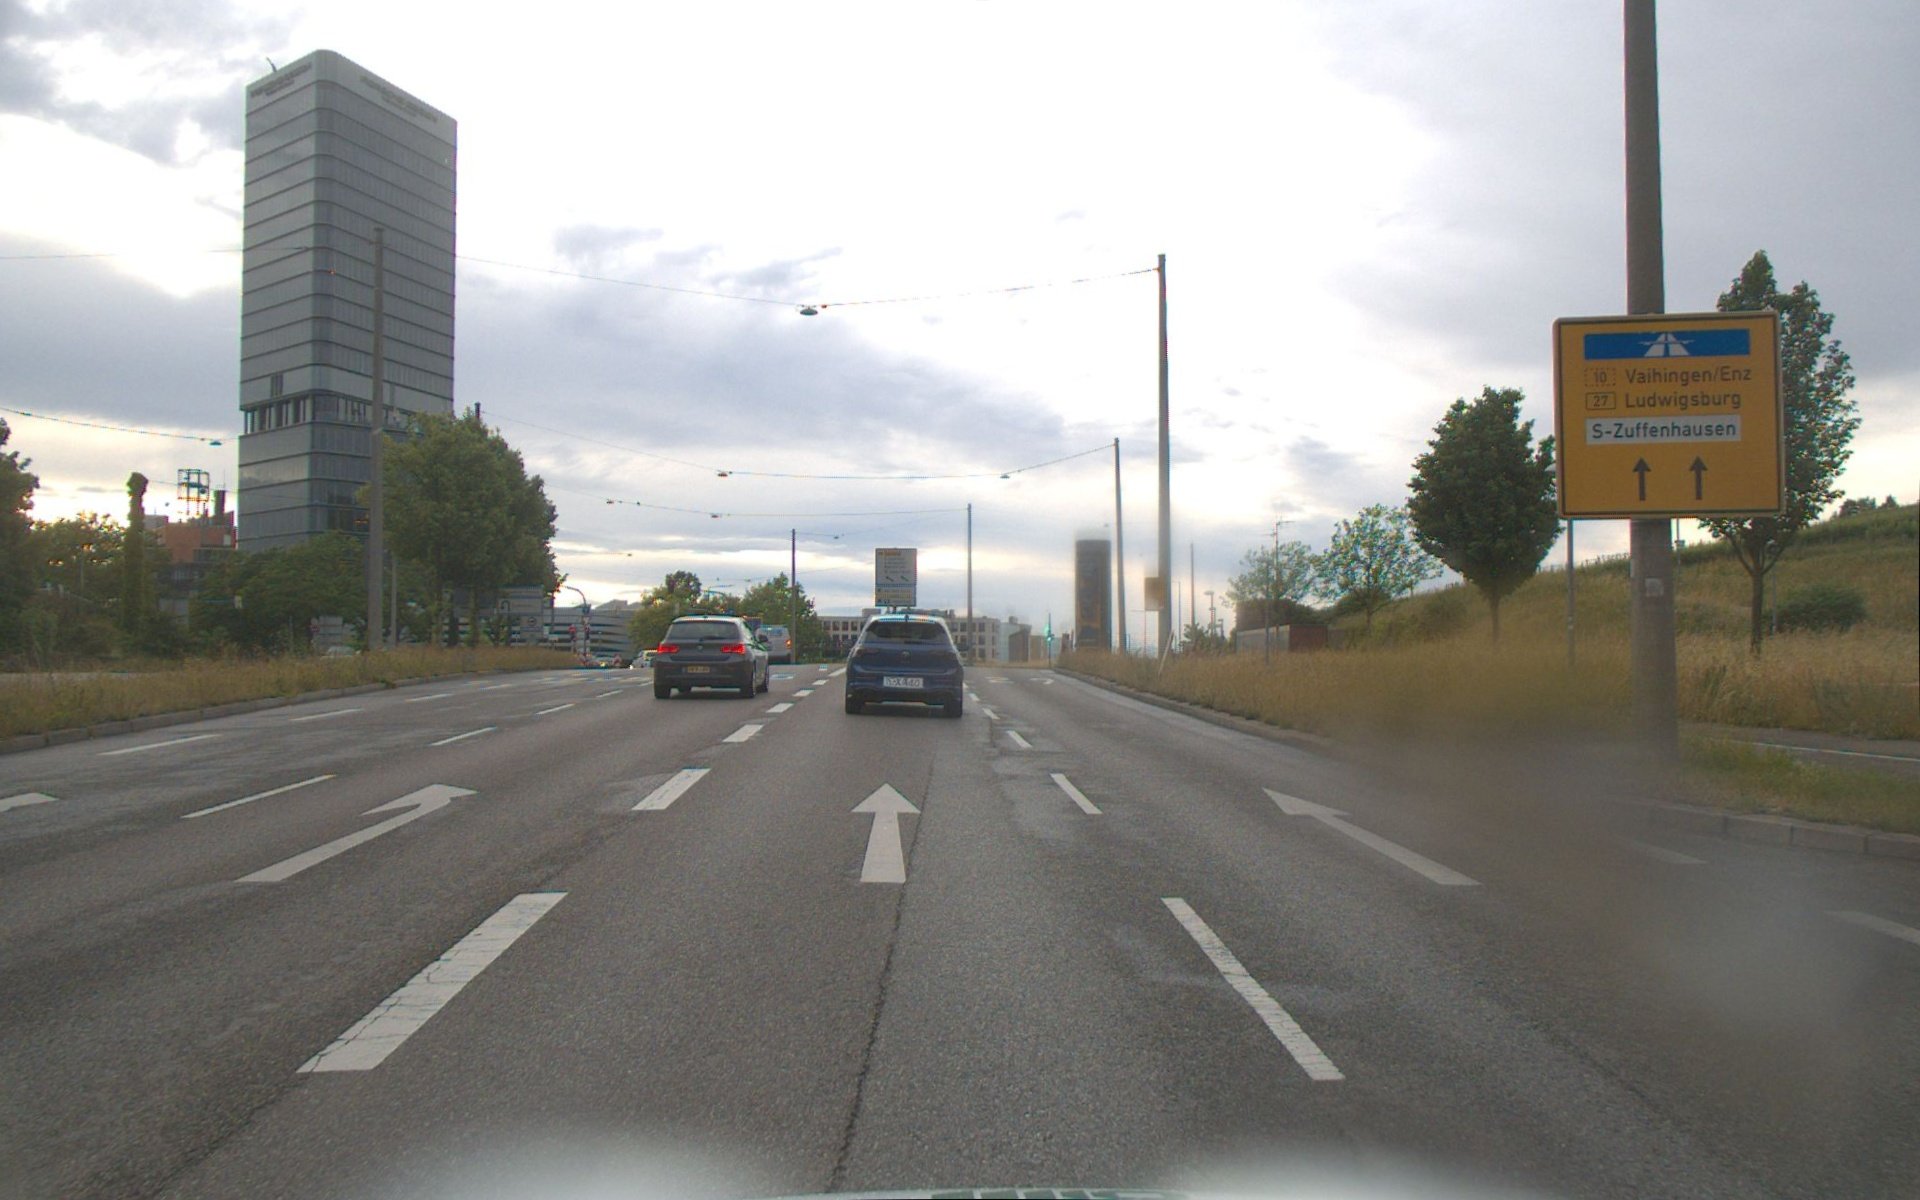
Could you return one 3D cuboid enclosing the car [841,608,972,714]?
[{"bbox_3d":[-0.779,0.901,25.296,1.800,1.418,3.999,2,-1,-1],"label":"car"}]

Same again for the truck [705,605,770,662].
[{"bbox_3d":[-13.607,2.077,100.879,2.626,3.277,6.512,2,-2,-19],"label":"truck"}]

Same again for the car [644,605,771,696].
[{"bbox_3d":[-4.516,0.873,30.109,1.831,1.487,3.974,0,0,-2],"label":"car"}]

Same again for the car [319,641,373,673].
[{"bbox_3d":[-30.629,2.836,82.598,1.563,1.384,3.673,2,0,-5],"label":"car"}]

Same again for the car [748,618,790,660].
[{"bbox_3d":[-9.795,2.017,84.623,1.869,2.008,5.080,0,-2,-9],"label":"car"}]

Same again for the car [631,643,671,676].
[{"bbox_3d":[-20.852,3.995,111.505,1.964,2.049,3.976,-1,0,-20],"label":"car"}]

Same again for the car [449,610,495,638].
[{"bbox_3d":[-30.158,1.519,102.300,1.856,1.687,4.599,0,-1,-5],"label":"car"}]

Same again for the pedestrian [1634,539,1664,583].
[{"bbox_3d":[32.781,-1.840,78.710,0.772,2.049,1.042,-1,0,-34],"label":"pedestrian"}]

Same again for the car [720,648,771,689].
[{"bbox_3d":[-9.472,2.999,73.195,1.687,1.568,3.703,2,0,0],"label":"car"}]
